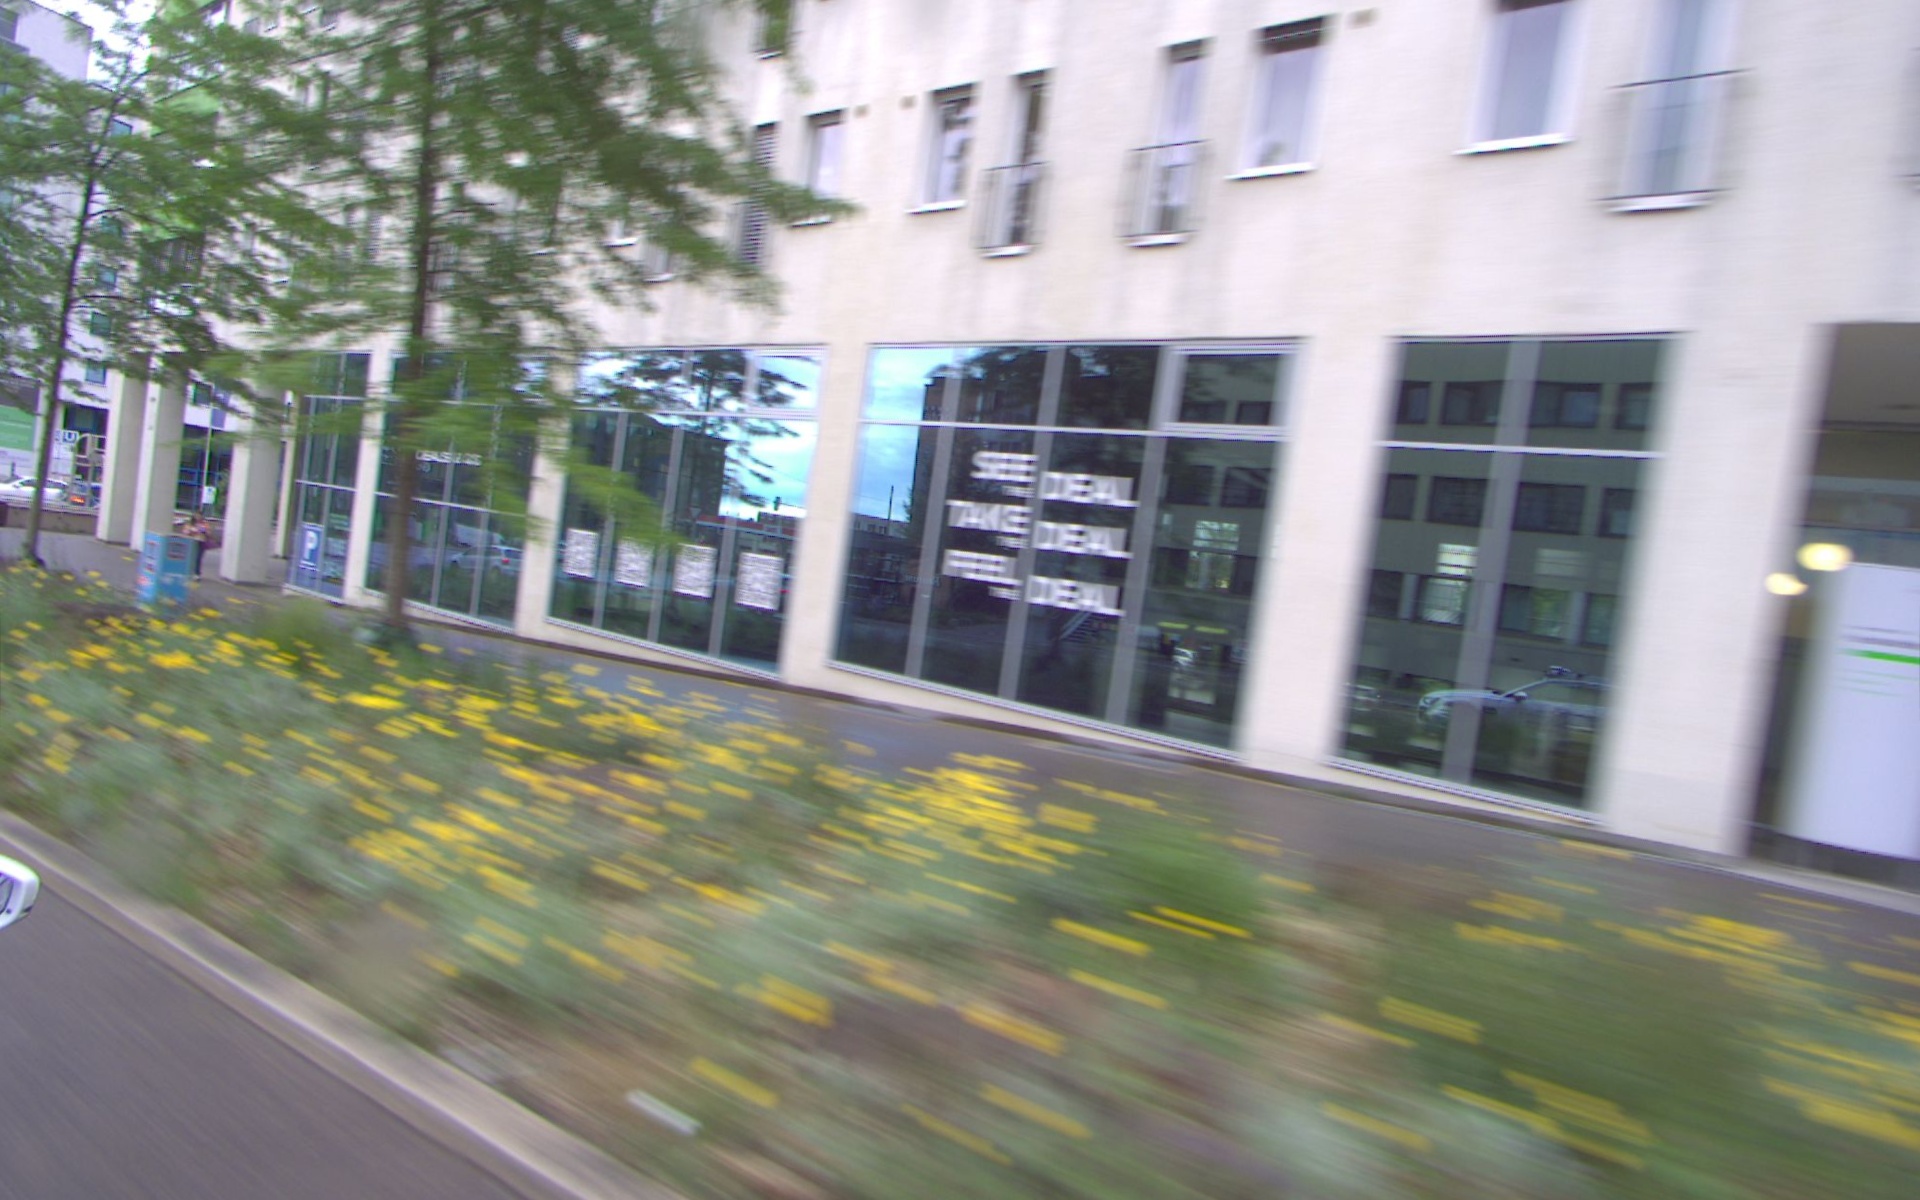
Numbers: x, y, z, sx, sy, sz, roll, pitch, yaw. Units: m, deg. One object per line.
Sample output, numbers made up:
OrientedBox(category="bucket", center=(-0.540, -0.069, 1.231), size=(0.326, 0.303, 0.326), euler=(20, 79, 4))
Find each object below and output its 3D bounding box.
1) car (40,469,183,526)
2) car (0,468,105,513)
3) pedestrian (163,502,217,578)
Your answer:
OrientedBox(category="car", center=(-35.343, -4.231, 42.026), size=(1.963, 1.593, 3.998), euler=(9, 1, 22))
OrientedBox(category="car", center=(-41.549, -5.005, 44.765), size=(1.792, 1.404, 4.955), euler=(8, 0, 29))
OrientedBox(category="pedestrian", center=(-19.267, -1.502, 25.168), size=(0.869, 1.733, 1.076), euler=(8, 0, -39))
